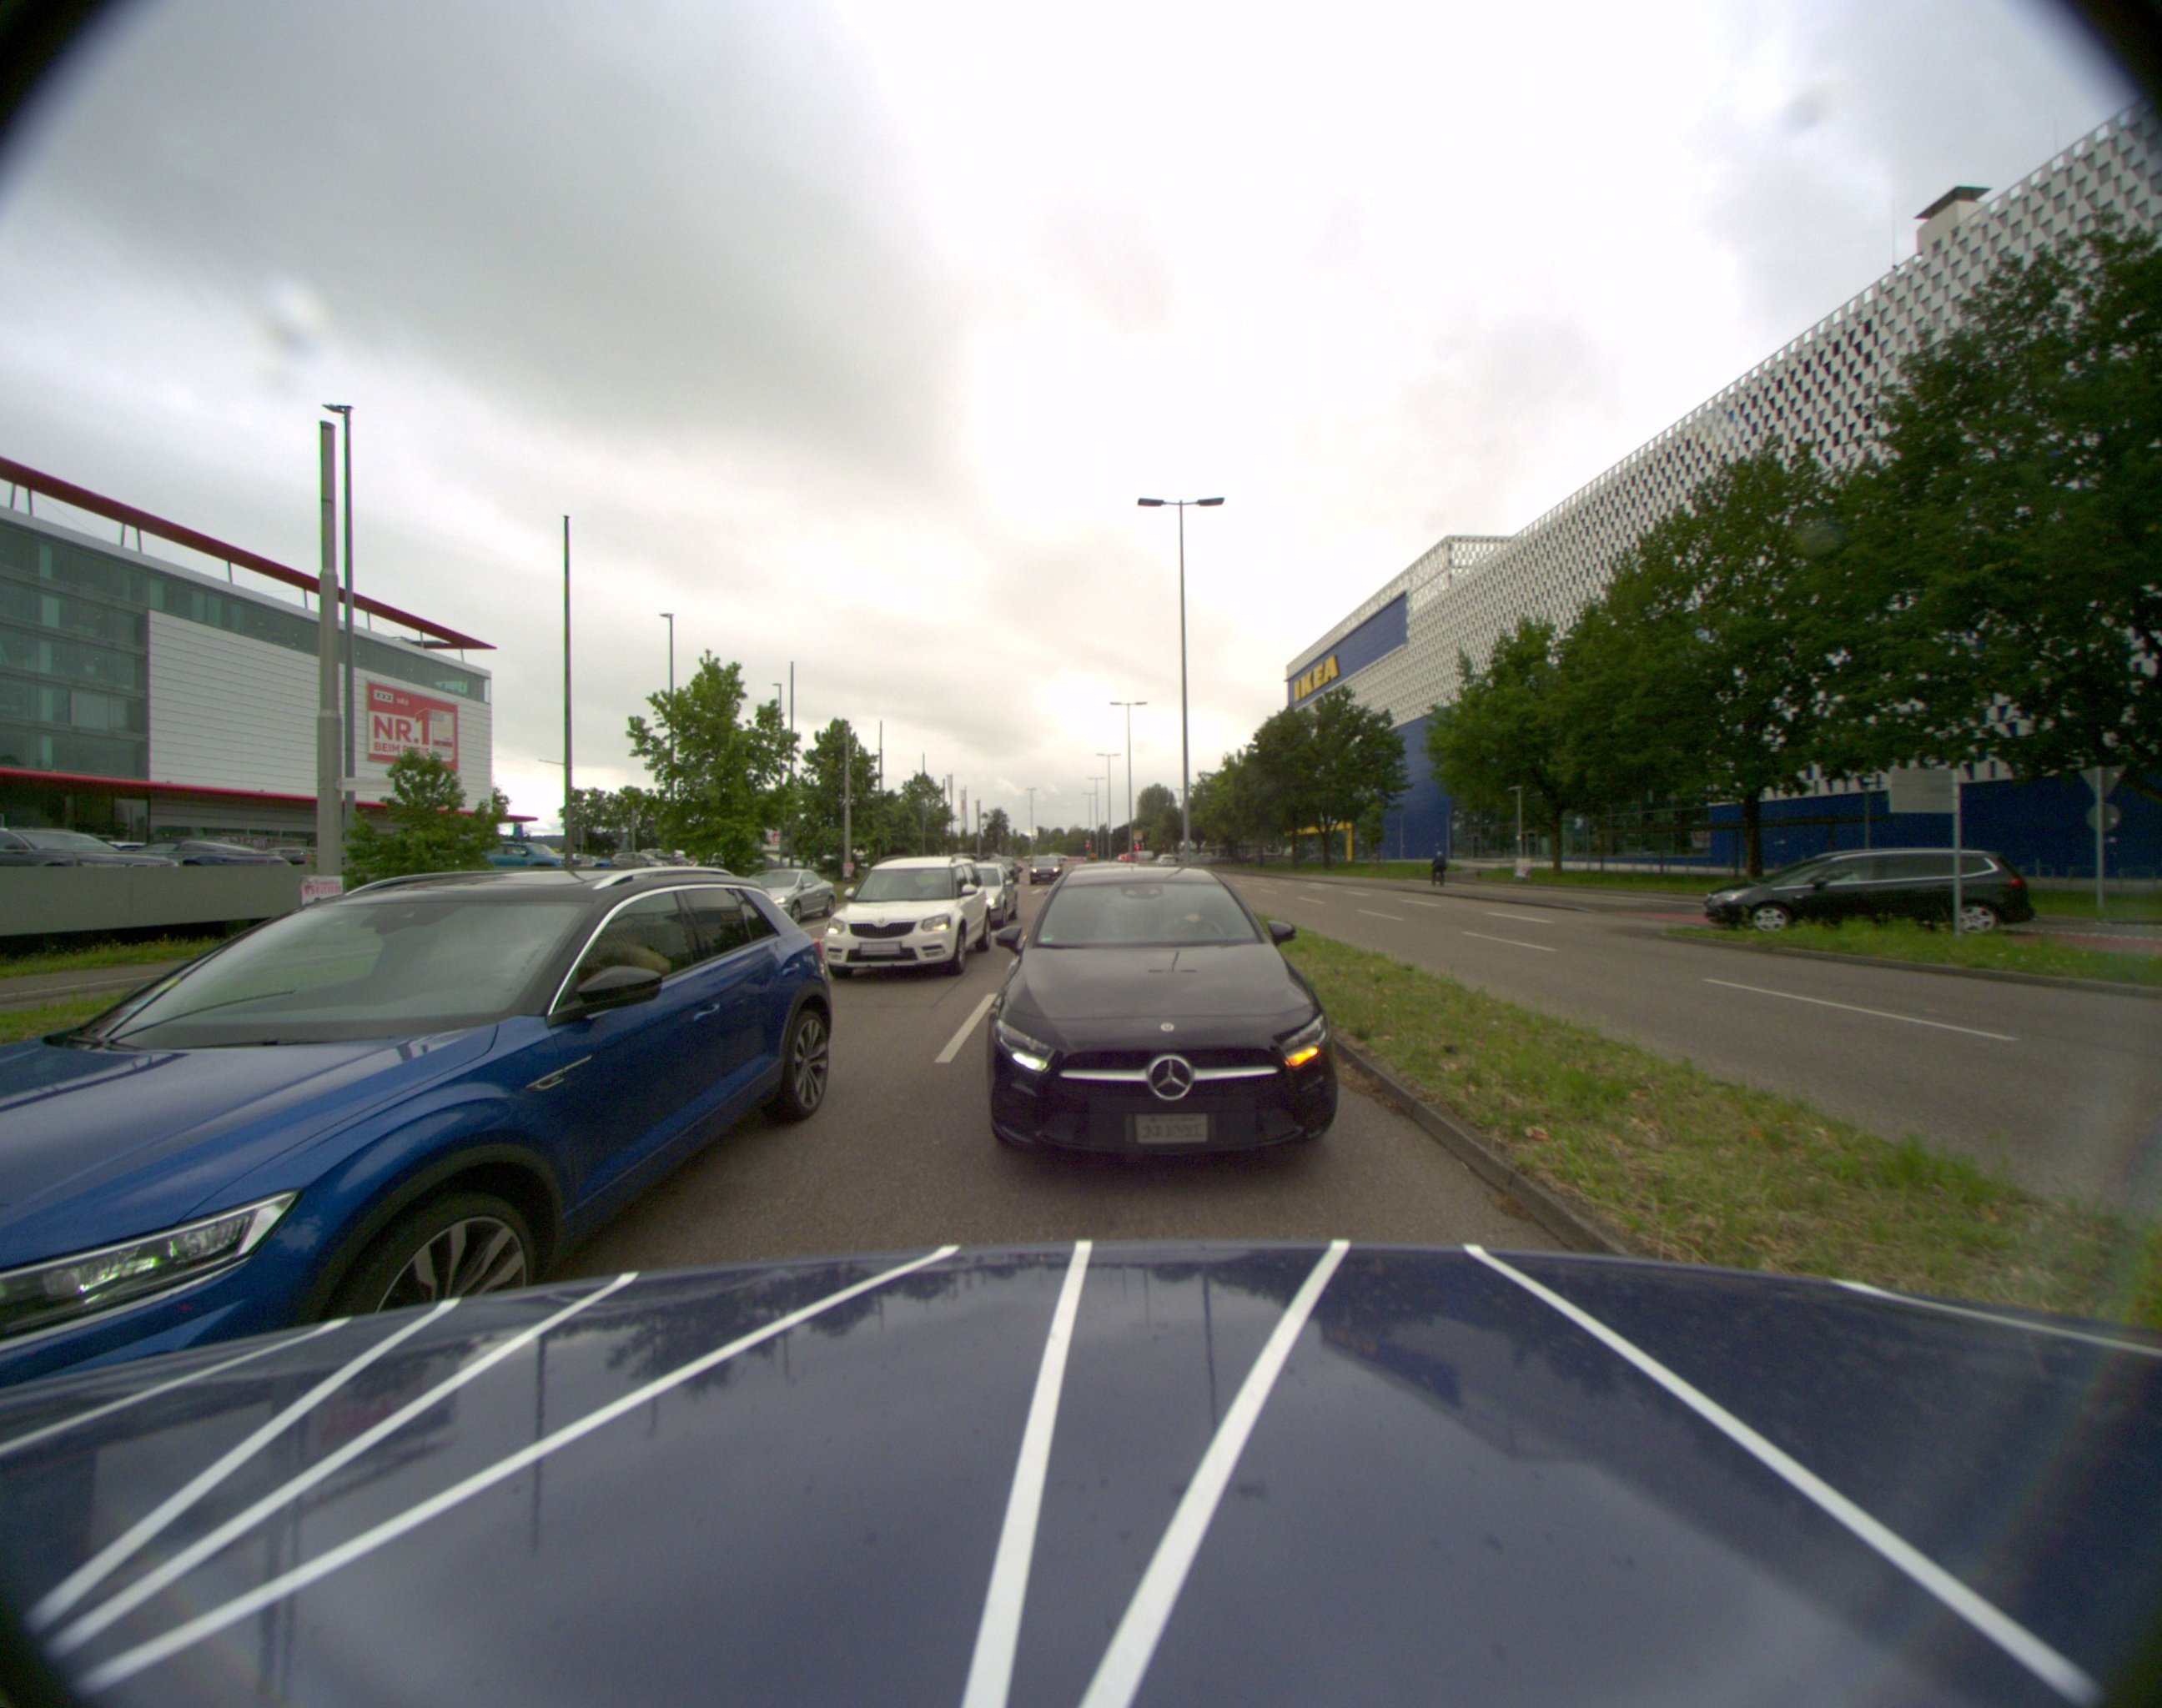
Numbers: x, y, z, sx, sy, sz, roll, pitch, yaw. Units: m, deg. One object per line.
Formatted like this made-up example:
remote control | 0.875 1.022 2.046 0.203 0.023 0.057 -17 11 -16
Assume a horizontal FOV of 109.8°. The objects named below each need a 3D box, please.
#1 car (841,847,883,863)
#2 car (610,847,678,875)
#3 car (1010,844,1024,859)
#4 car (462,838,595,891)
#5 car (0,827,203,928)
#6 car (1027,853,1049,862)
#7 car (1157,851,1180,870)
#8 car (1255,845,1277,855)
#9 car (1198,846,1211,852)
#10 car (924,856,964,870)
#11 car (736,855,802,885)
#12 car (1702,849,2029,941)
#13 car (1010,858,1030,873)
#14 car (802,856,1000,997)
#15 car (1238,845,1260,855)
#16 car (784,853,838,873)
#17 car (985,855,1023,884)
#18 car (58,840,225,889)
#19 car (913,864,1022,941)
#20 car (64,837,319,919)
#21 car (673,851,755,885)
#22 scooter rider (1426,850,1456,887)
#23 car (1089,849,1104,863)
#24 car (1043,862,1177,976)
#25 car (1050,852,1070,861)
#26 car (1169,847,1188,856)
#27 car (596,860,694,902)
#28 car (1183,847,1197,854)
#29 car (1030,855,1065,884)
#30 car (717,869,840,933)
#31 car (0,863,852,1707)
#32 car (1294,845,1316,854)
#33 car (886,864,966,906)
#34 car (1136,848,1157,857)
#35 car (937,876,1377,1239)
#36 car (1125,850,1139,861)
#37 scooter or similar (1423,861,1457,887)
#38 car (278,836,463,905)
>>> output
car | -24.173 0.083 83.962 3.997 1.556 1.796 -2 1 1
car | -33.826 0.538 58.936 3.997 2.002 1.999 -2 1 -2
car | -10.208 -0.385 121.024 1.999 2.229 3.999 0 0 -2
car | -23.175 0.401 31.995 3.997 2.002 1.999 -2 1 -2
car | -22.648 0.529 16.519 4.529 2.002 1.999 -2 1 -2
car | -10.125 0.752 180.247 5.089 2.002 1.999 -2 1 -2
car | 9.414 0.674 81.893 1.847 1.875 3.924 -2 1 -1
car | 38.948 -0.818 159.898 3.999 1.805 1.998 -2 1 -7
car | 38.878 -1.618 239.174 3.565 1.630 1.743 -2 1 -3
car | -16.083 1.017 89.301 4.216 1.407 1.802 -2 1 0
car | -23.252 1.185 56.649 3.997 2.002 2.000 -2 1 0
car | 15.724 0.780 15.633 4.349 1.646 1.852 -1 0 31
car | -7.001 1.345 87.742 1.801 1.564 4.221 -2 -2 1
car | -2.454 0.902 11.538 1.798 1.615 4.374 -2 1 1
car | 30.315 -0.670 137.065 3.565 1.630 1.743 -2 1 -3
car | -23.632 0.771 66.485 3.997 1.556 1.796 -2 1 1
car | -4.768 0.950 47.703 1.798 1.615 4.374 -2 1 1
car | -37.454 0.383 30.381 3.998 1.729 1.999 -2 1 -2
car | -2.505 1.029 17.750 1.801 1.407 4.218 -2 1 1
car | -22.656 0.575 19.511 3.998 1.838 1.999 -2 1 -2
car | -24.050 0.886 49.960 4.324 2.002 1.999 -2 1 -2
scooter rider | 17.091 0.667 36.077 0.798 1.710 1.038 -2 1 -16
car | 2.374 0.338 118.538 1.999 2.206 3.999 0 0 -2
car | 0.418 0.902 12.388 1.767 1.370 4.258 -2 1 1
car | -4.233 0.442 153.854 3.999 1.786 1.999 0 0 -6
car | 22.235 -0.531 172.667 3.997 2.002 1.999 -2 1 -2
car | -23.380 1.418 40.876 3.997 2.002 1.999 -2 1 -2
car | 34.256 -1.088 238.922 4.290 1.813 1.743 -2 1 -3
car | -1.943 0.925 45.449 1.801 1.564 4.220 -2 -1 1
car | -7.869 1.160 20.165 1.694 1.364 3.925 -2 1 -1
car | -2.591 0.930 3.093 1.846 1.612 4.332 -2 1 1
car | 47.310 -1.007 160.580 3.999 1.805 1.998 -2 1 -7
car | -5.683 1.106 28.512 1.816 1.402 4.879 -2 -1 2
car | 15.570 -0.355 179.898 4.708 2.002 1.999 -2 1 -2
car | 0.357 0.947 5.397 1.859 1.426 4.197 -2 0 1
car | 8.451 0.246 125.521 1.847 1.709 3.924 -2 1 -1
scooter or similar | 17.059 0.937 36.121 0.590 1.119 1.423 -5 2 -16
car | -23.061 0.504 24.812 3.997 2.002 1.999 -2 1 -2
